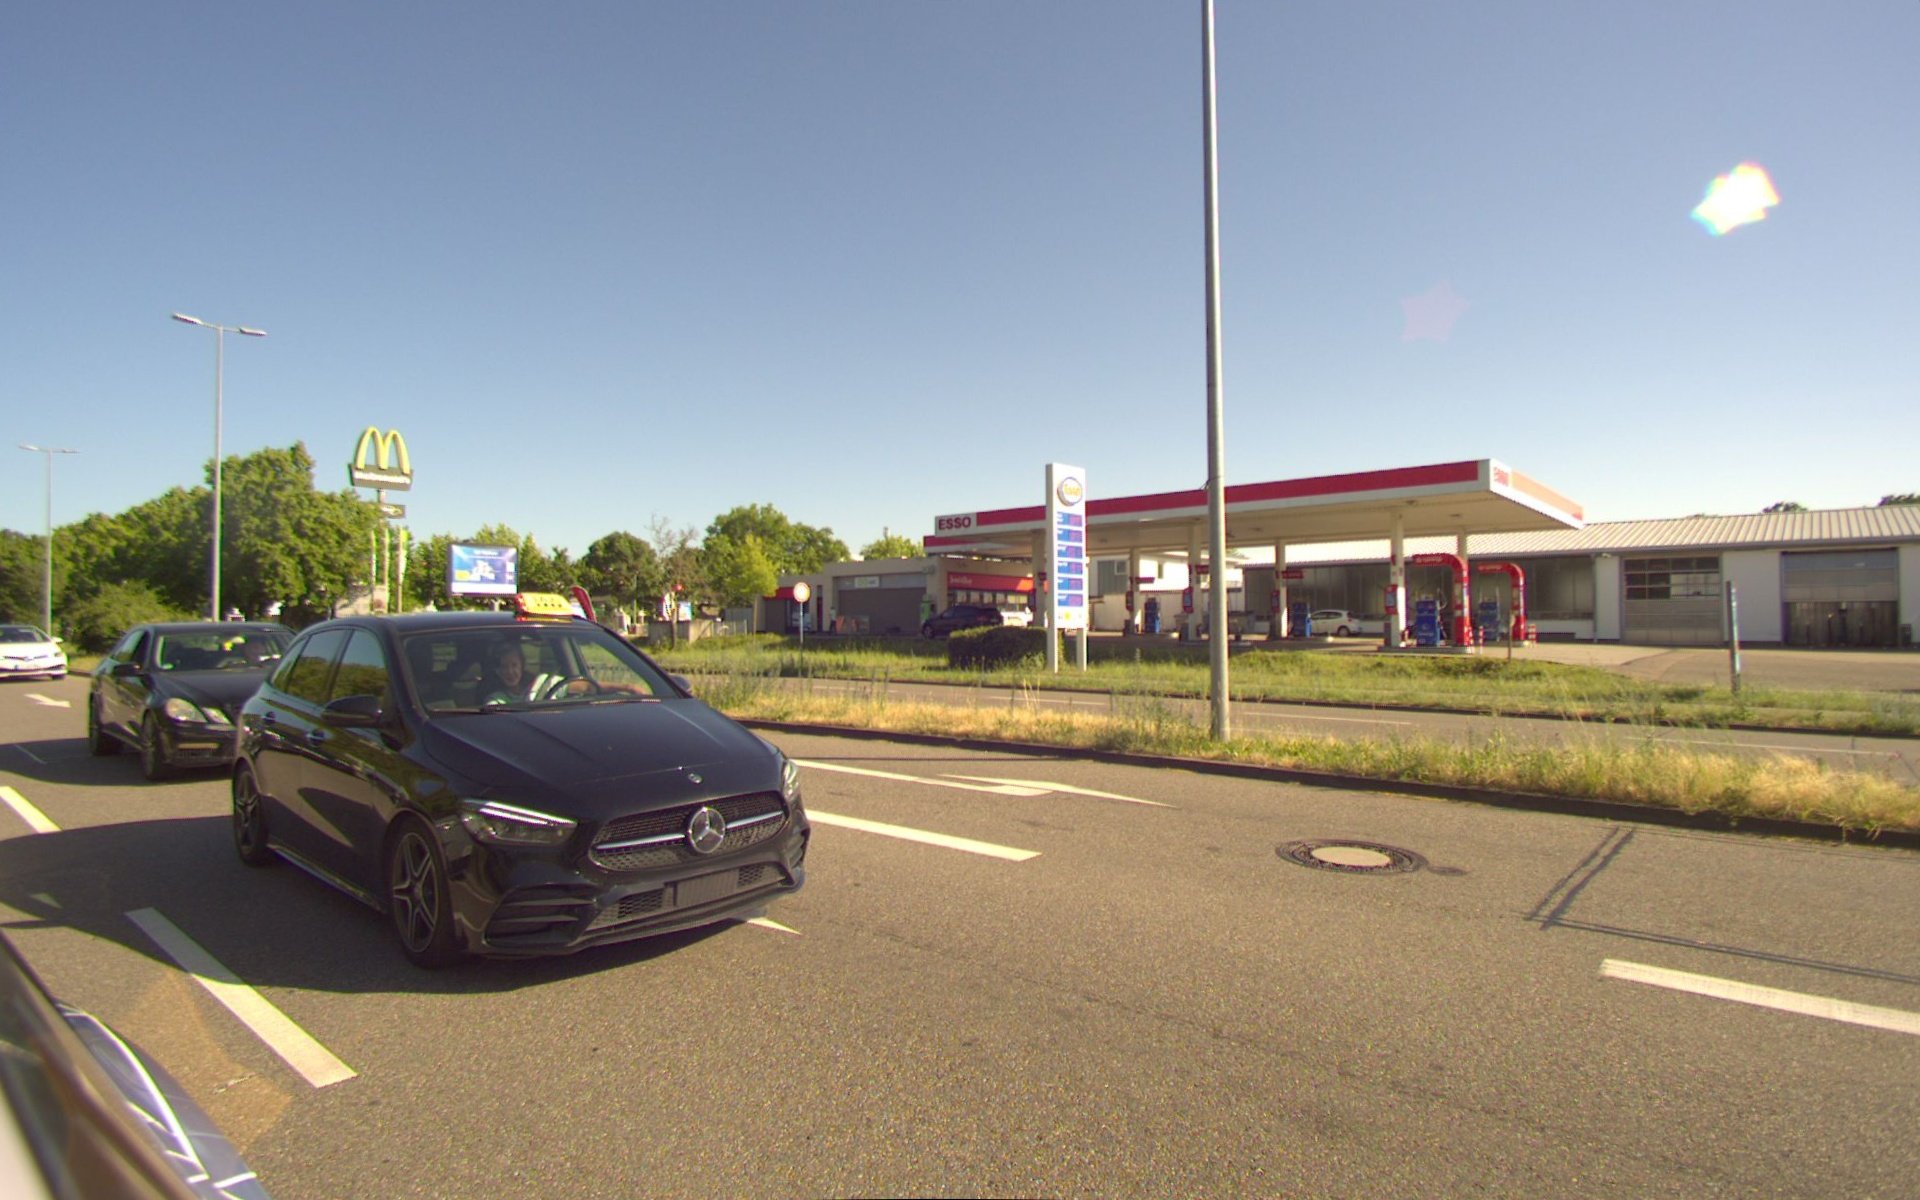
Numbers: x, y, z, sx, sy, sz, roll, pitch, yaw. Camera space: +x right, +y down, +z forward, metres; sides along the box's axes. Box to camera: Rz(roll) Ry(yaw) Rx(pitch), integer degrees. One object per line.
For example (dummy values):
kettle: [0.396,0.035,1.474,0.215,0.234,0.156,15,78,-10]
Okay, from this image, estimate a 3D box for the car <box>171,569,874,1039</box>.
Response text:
car: [-2.728,0.750,5.654,4.579,1.614,1.765,-2,-1,40]

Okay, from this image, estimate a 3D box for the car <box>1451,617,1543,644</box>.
car: [26.207,1.468,49.439,3.729,1.196,1.658,-1,0,41]

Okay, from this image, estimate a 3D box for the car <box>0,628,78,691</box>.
car: [-24.628,1.493,26.205,3.994,1.453,1.975,-1,0,38]

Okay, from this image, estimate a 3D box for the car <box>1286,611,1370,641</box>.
car: [19.966,1.383,54.941,3.855,1.500,1.973,-1,0,41]

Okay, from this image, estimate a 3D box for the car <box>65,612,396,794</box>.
car: [-7.948,0.912,10.860,4.461,1.521,1.928,-1,0,41]

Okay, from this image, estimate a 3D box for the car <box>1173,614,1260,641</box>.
car: [15.125,1.607,59.793,4.540,1.477,1.973,-1,0,41]

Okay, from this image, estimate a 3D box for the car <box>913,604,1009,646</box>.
car: [0.015,1.139,46.470,4.322,1.739,1.783,-1,2,43]
